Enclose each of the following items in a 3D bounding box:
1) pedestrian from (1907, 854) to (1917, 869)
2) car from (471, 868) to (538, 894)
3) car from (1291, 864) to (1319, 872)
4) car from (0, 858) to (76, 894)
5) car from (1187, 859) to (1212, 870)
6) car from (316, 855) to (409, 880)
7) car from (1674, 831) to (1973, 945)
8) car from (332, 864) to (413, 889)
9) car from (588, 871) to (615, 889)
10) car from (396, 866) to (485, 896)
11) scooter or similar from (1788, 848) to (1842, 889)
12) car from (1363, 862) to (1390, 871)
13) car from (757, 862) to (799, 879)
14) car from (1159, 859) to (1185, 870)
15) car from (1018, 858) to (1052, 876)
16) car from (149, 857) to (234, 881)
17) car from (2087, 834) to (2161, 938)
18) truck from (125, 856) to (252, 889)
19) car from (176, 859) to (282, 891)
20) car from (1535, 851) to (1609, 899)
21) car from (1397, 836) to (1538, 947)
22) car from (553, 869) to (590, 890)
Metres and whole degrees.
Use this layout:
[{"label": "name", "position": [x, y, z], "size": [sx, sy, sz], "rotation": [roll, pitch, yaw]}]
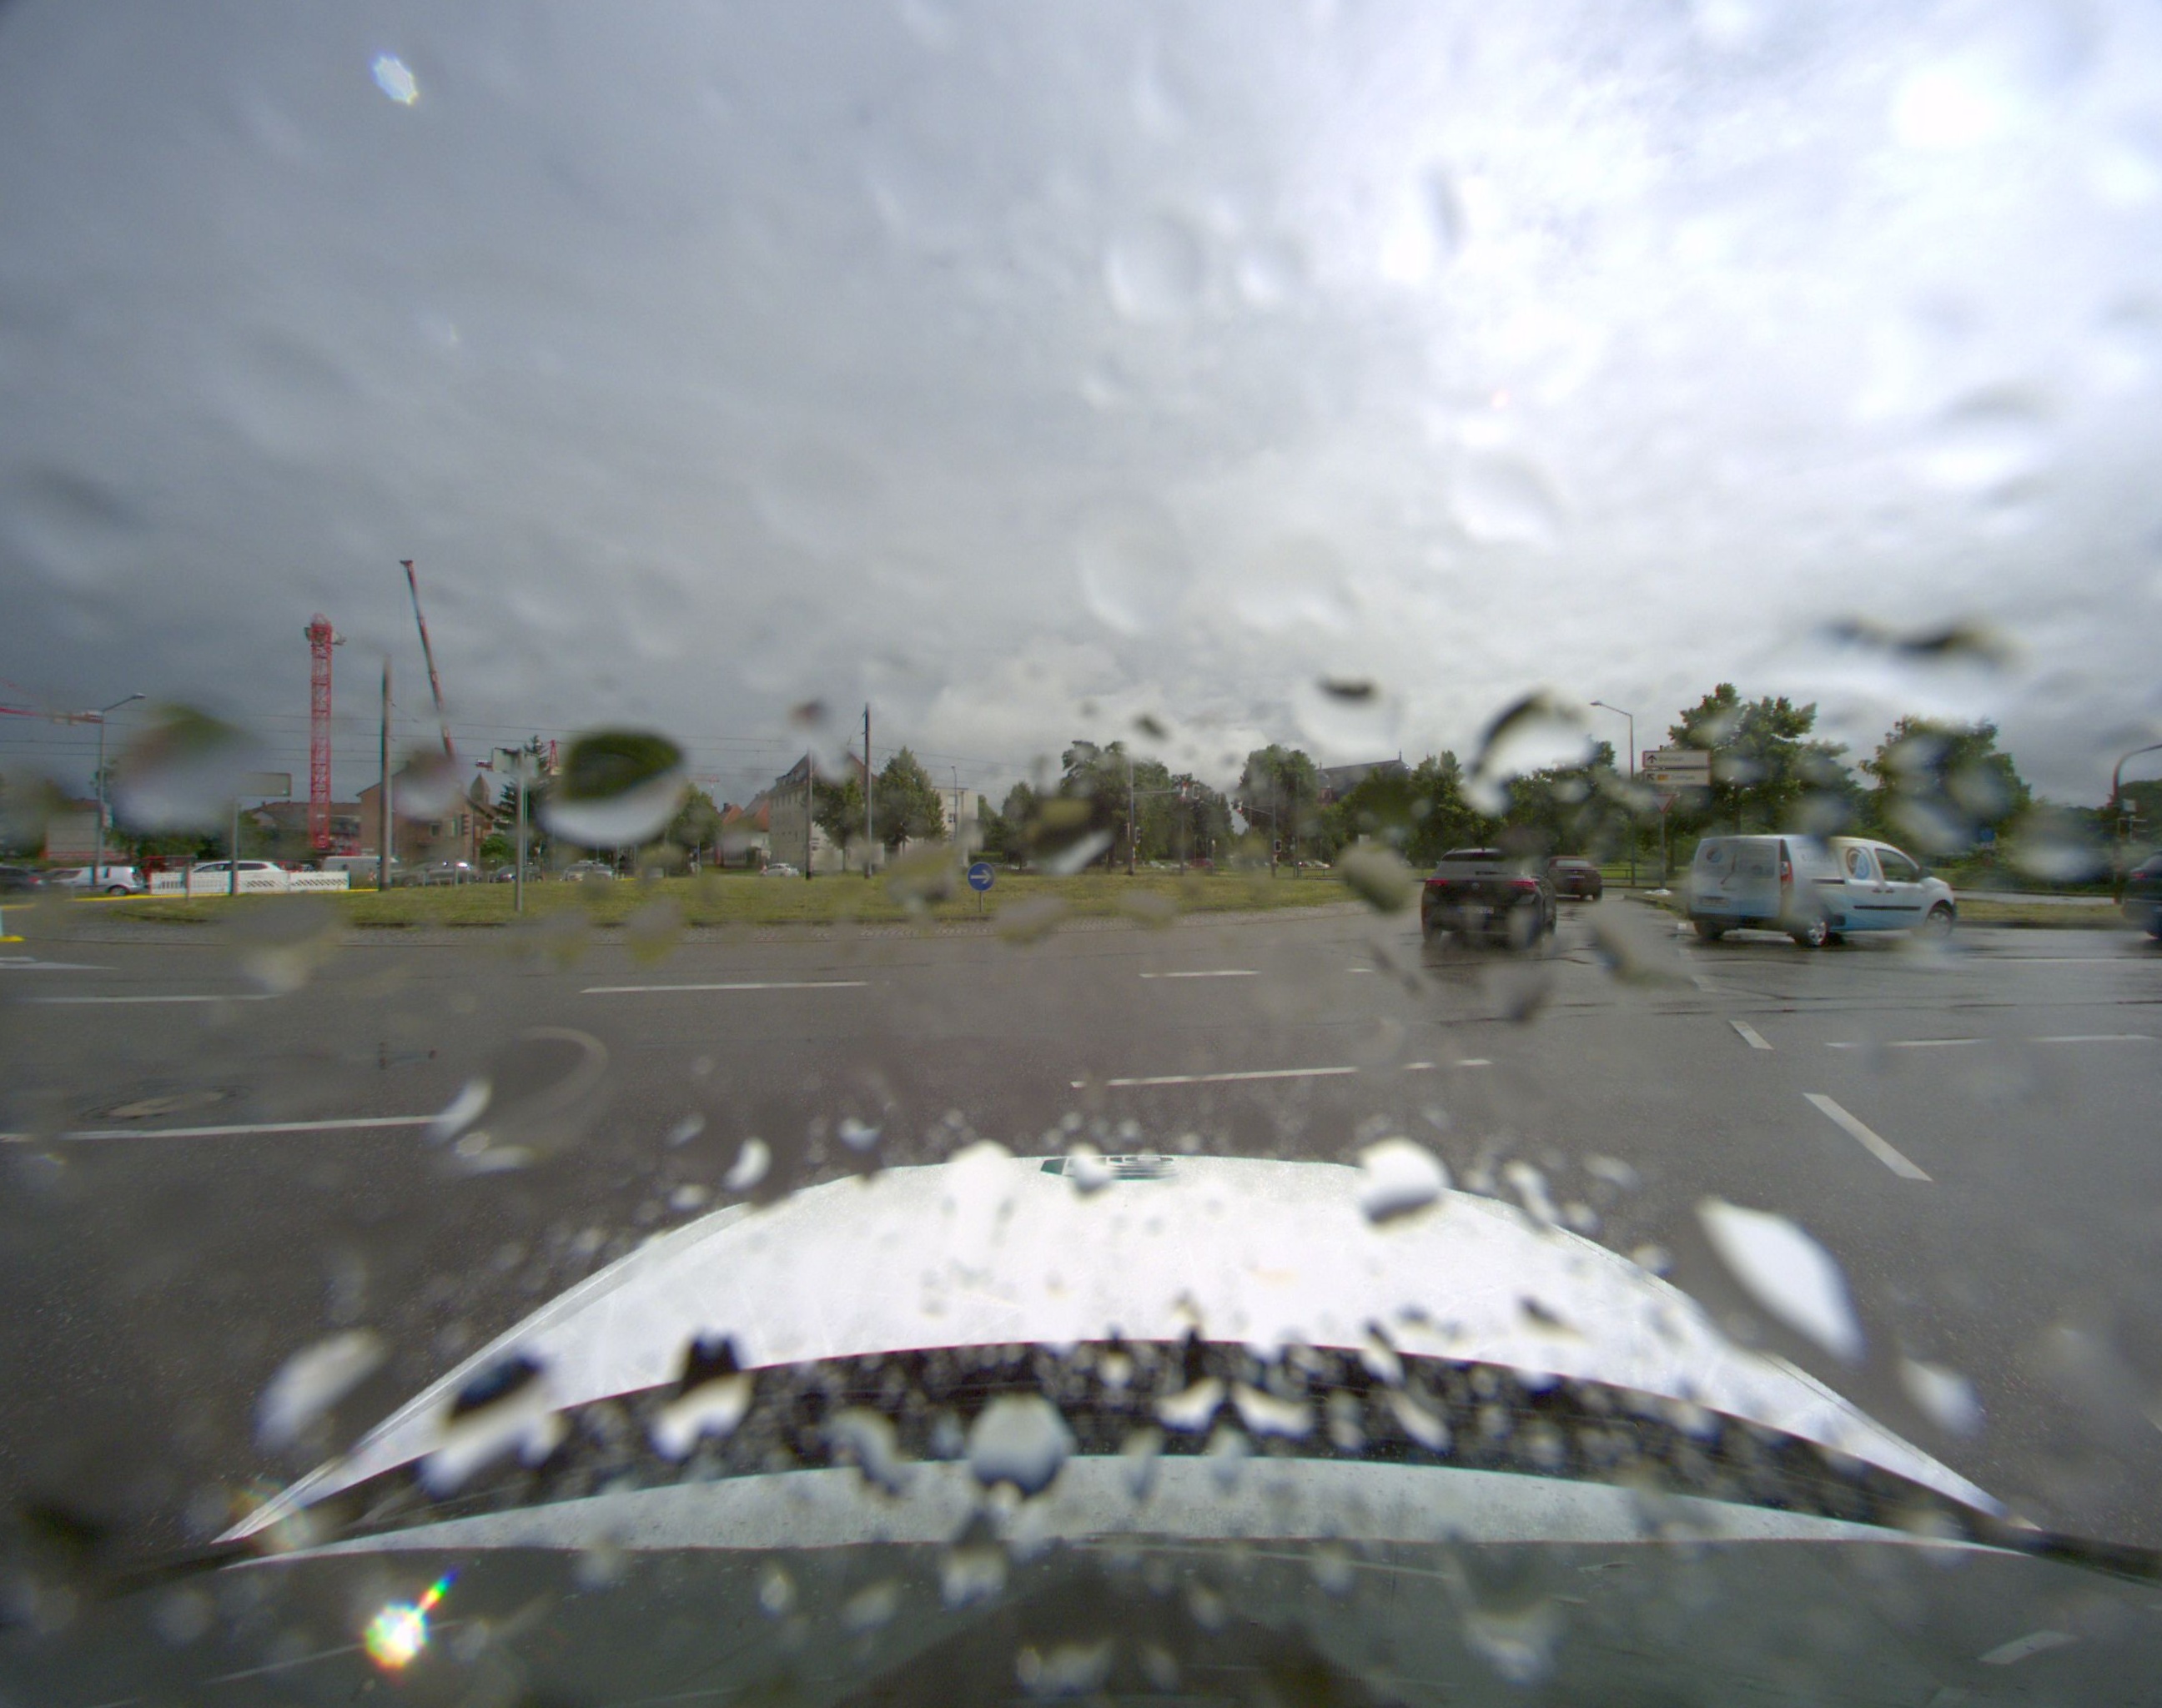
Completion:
[{"label": "pedestrian", "position": [95.551, 0.862, 93.613], "size": [0.601, 1.732, 0.599], "rotation": [2, -1, 2]}, {"label": "car", "position": [-38.744, 1.794, 54.833], "size": [1.787, 1.585, 3.996], "rotation": [0, 0, -2]}, {"label": "car", "position": [34.735, 2.183, 126.515], "size": [1.857, 1.308, 3.937], "rotation": [0, -1, -33]}, {"label": "car", "position": [-47.104, 0.965, 35.372], "size": [4.019, 1.517, 1.782], "rotation": [0, 0, -39]}, {"label": "car", "position": [16.519, 1.432, 113.771], "size": [1.654, 1.510, 3.617], "rotation": [0, -1, -28]}, {"label": "car", "position": [-64.719, 1.239, 73.397], "size": [6.231, 2.085, 2.040], "rotation": [2, -1, -3]}, {"label": "car", "position": [12.871, 0.527, 14.156], "size": [4.548, 1.762, 1.856], "rotation": [0, 0, -18]}, {"label": "car", "position": [-51.698, 1.613, 59.530], "size": [1.977, 1.684, 4.020], "rotation": [0, 0, 19]}, {"label": "car", "position": [-44.610, 2.370, 75.805], "size": [1.601, 1.560, 3.525], "rotation": [0, 0, -21]}, {"label": "car", "position": [-36.530, 1.519, 46.522], "size": [1.554, 1.560, 3.700], "rotation": [0, 0, 31]}, {"label": "scooter or similar", "position": [38.049, 0.752, 42.285], "size": [1.224, 2.014, 3.428], "rotation": [1, -1, 27]}, {"label": "car", "position": [49.276, 2.060, 135.752], "size": [1.857, 1.560, 3.937], "rotation": [0, -1, -33]}, {"label": "car", "position": [-27.921, 1.497, 75.036], "size": [3.457, 1.454, 1.559], "rotation": [0, 0, 24]}, {"label": "car", "position": [12.371, 1.392, 110.830], "size": [1.650, 1.462, 3.575], "rotation": [0, -1, -31]}, {"label": "car", "position": [-5.685, 1.538, 99.809], "size": [2.119, 2.057, 5.112], "rotation": [-1, 0, -30]}, {"label": "car", "position": [-69.029, 1.196, 63.262], "size": [3.993, 1.700, 1.848], "rotation": [2, -2, -14]}, {"label": "car", "position": [20.400, 0.528, 13.674], "size": [4.288, 1.757, 2.045], "rotation": [0, 0, 4]}, {"label": "truck", "position": [-65.210, 1.337, 59.610], "size": [6.071, 2.212, 2.393], "rotation": [2, -1, -6]}, {"label": "car", "position": [-41.588, 0.987, 39.877], "size": [3.520, 1.510, 1.482], "rotation": [0, 0, -44]}, {"label": "car", "position": [16.366, 0.651, 27.305], "size": [1.699, 1.462, 4.023], "rotation": [0, 0, 25]}, {"label": "car", "position": [6.857, 0.532, 14.203], "size": [1.879, 1.617, 4.025], "rotation": [1, 1, 30]}, {"label": "car", "position": [-39.296, 1.963, 62.857], "size": [1.549, 1.561, 3.478], "rotation": [0, -1, -18]}]
